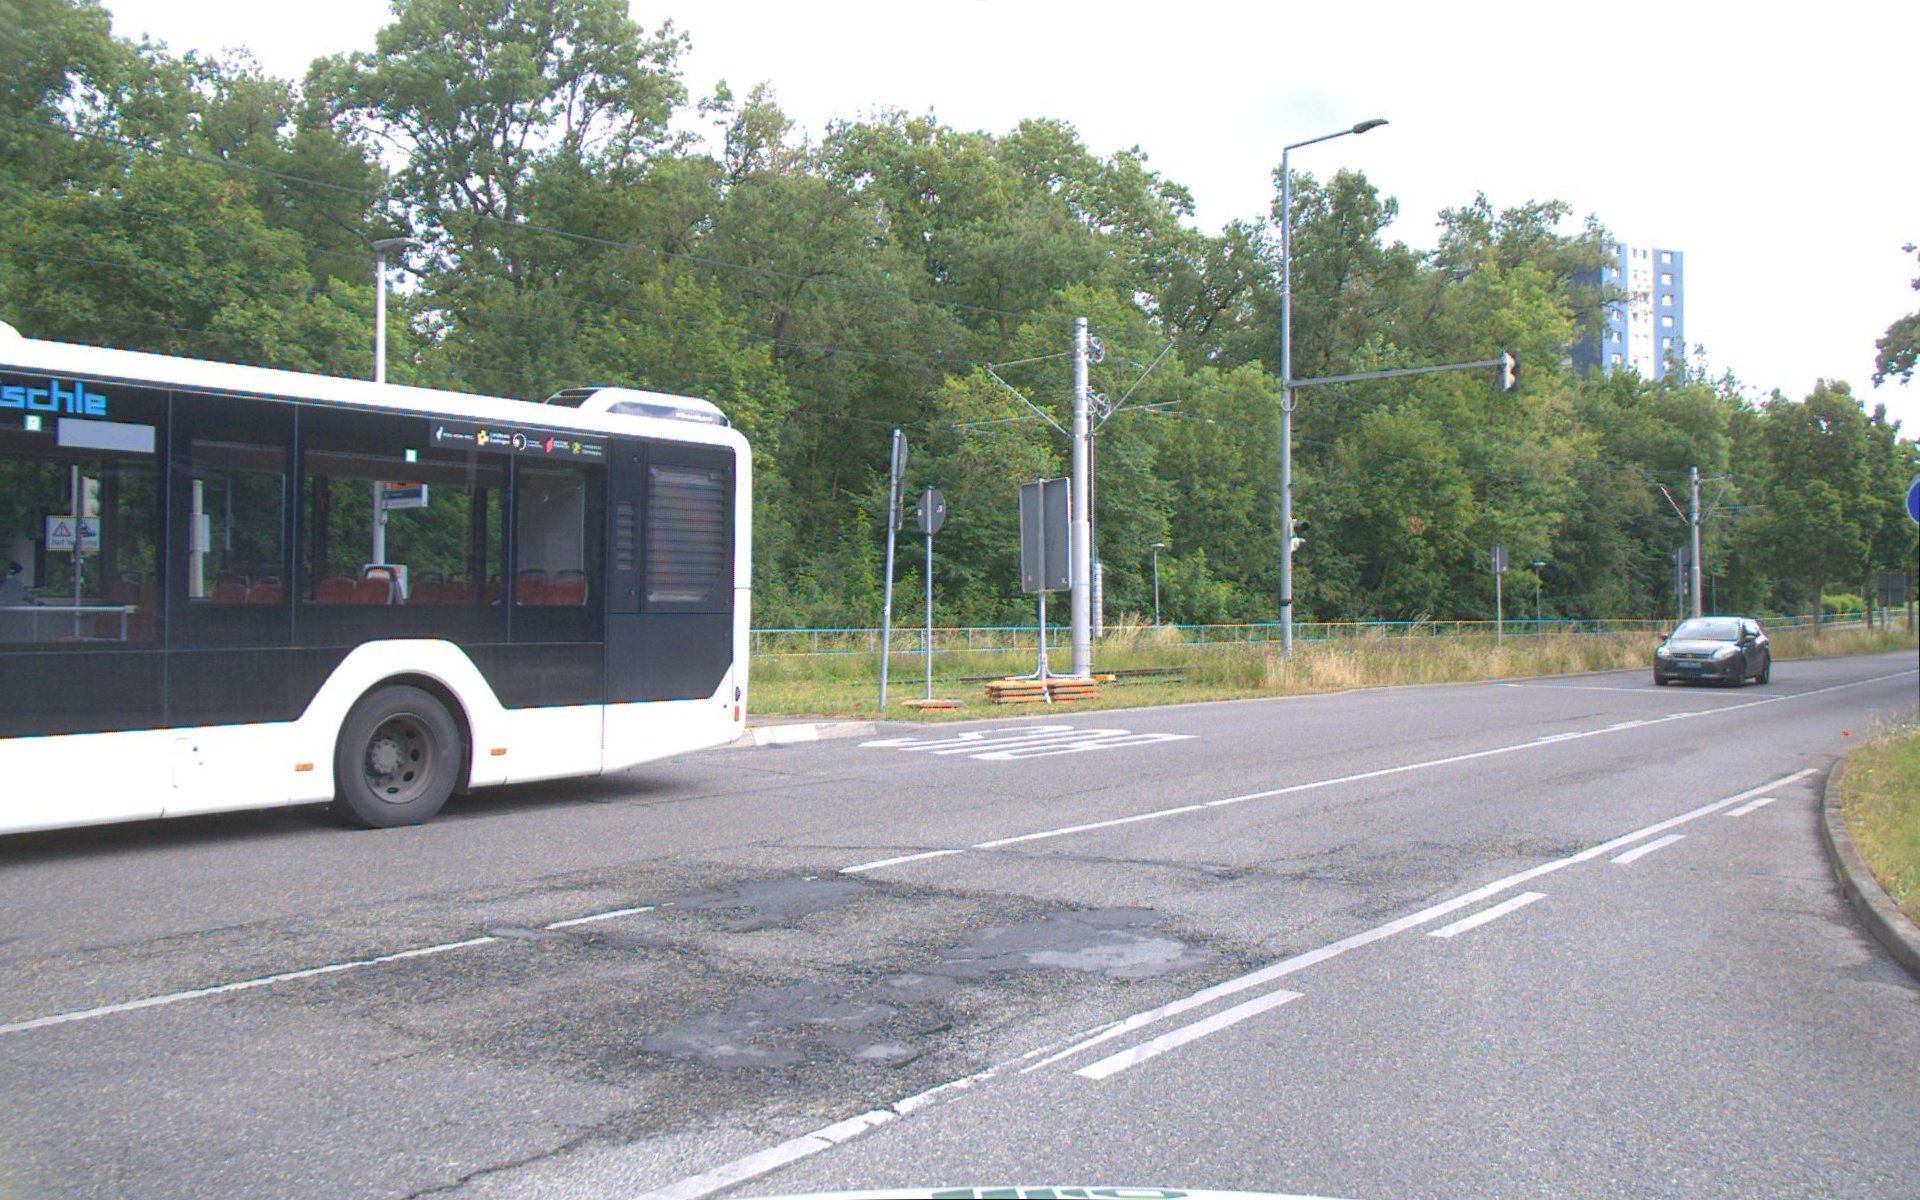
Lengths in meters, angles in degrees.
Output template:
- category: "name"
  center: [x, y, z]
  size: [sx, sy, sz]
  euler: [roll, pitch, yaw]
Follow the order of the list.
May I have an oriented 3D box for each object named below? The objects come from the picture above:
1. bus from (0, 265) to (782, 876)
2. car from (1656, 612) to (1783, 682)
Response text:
- category: "bus"
  center: [-6.169, -0.148, 9.598]
  size: [2.623, 3.259, 12.146]
  euler: [-1, -1, 37]
- category: "car"
  center: [16.881, 0.997, 36.639]
  size: [1.726, 1.460, 4.411]
  euler: [0, -1, 36]
